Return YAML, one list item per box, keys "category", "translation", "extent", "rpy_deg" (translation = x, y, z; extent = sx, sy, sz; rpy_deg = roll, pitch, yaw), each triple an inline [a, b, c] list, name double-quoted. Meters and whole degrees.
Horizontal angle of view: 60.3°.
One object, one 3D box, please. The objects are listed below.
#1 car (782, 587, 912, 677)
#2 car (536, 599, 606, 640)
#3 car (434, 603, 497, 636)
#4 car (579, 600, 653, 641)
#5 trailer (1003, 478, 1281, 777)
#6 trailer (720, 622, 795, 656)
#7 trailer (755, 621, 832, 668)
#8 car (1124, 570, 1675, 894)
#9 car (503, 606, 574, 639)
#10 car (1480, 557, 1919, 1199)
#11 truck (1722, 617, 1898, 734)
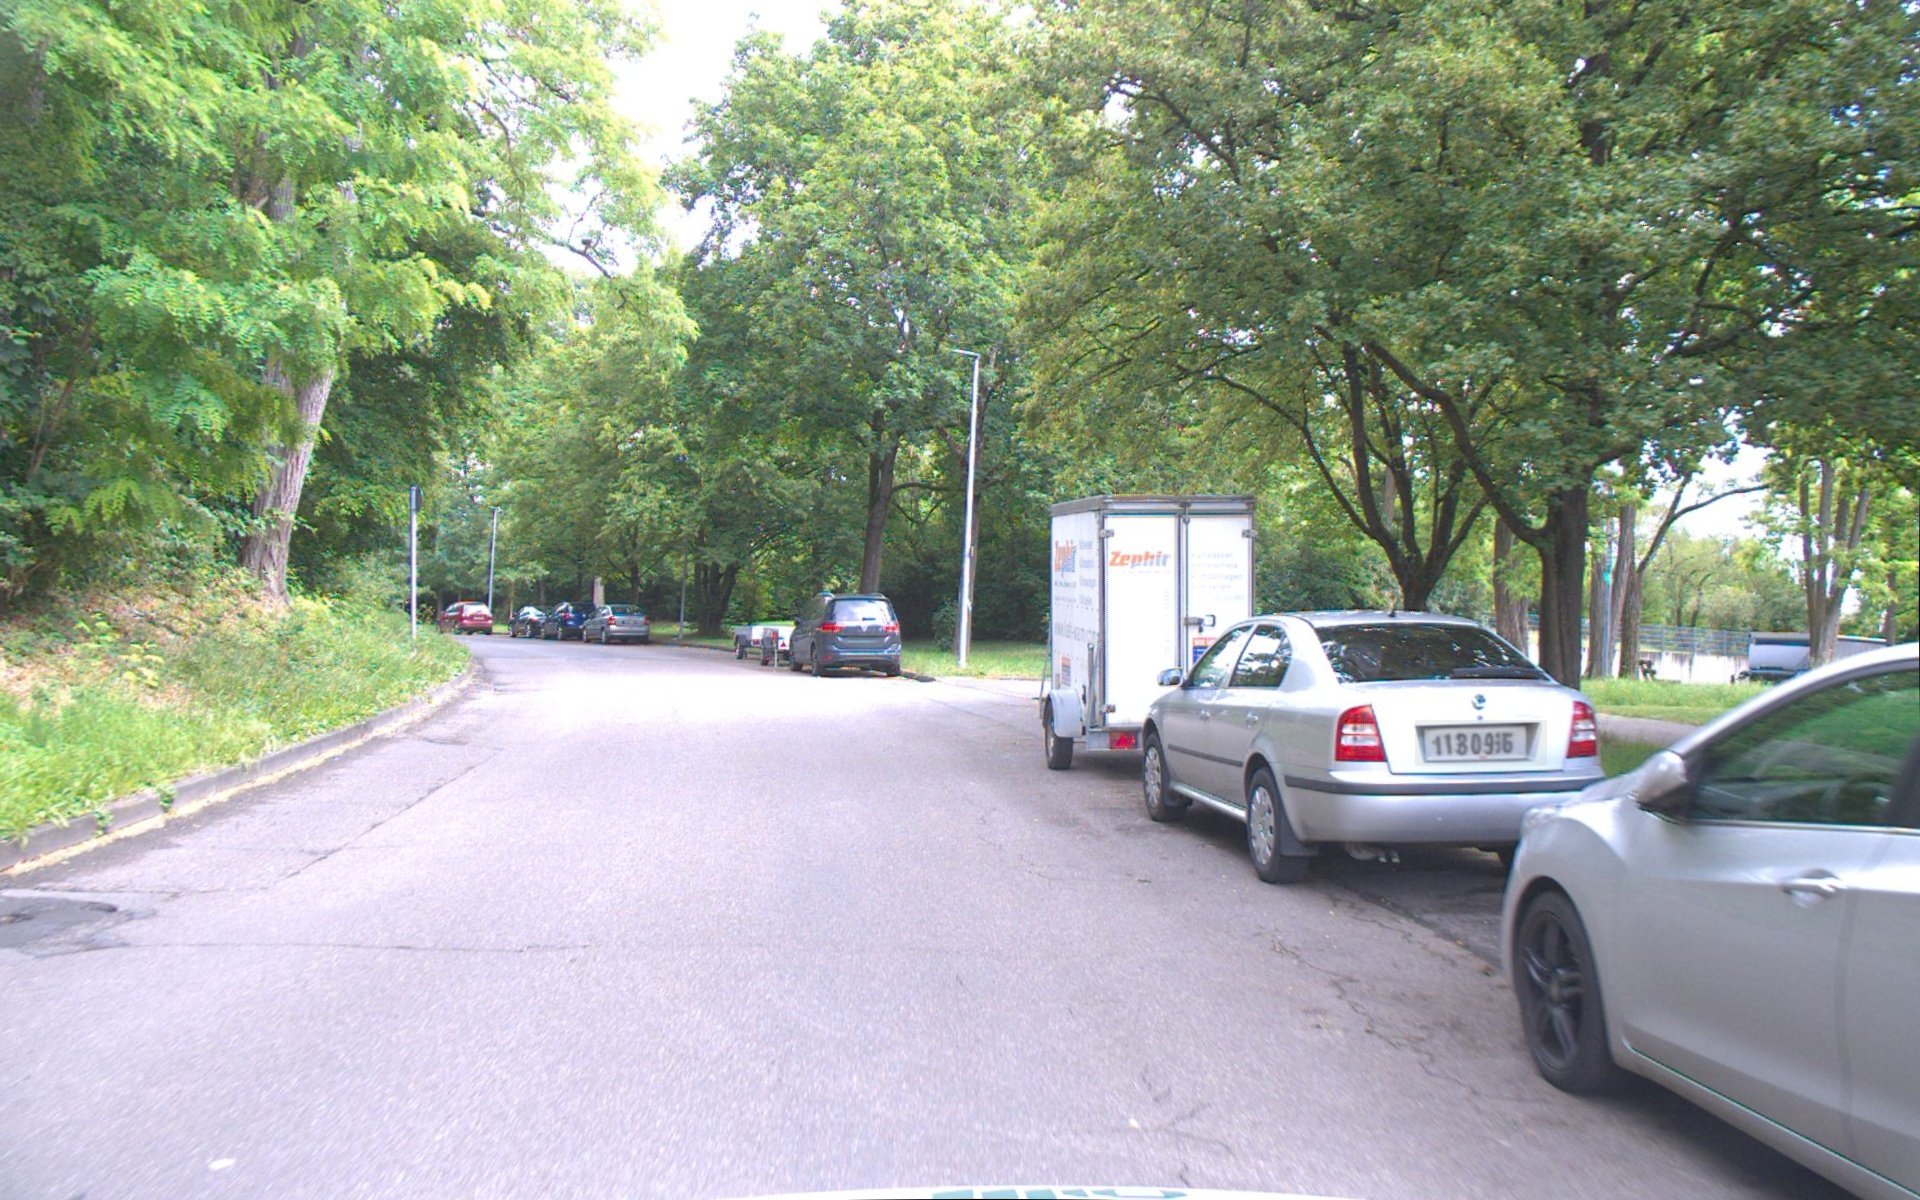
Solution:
- category: "car"
  translation: [-2.434, 0.652, 34.468]
  extent: [1.746, 1.692, 4.820]
  rpy_deg: [2, -1, -15]
- category: "car"
  translation: [-15.798, 0.814, 67.095]
  extent: [1.695, 1.536, 4.141]
  rpy_deg: [3, -3, -28]
- category: "car"
  translation: [-24.028, 0.969, 80.274]
  extent: [1.725, 1.590, 3.948]
  rpy_deg: [1, -2, -36]
- category: "car"
  translation: [-12.734, 0.757, 61.120]
  extent: [1.698, 1.457, 3.912]
  rpy_deg: [0, -1, -28]
- category: "trailer"
  translation: [1.578, 0.230, 15.702]
  extent: [1.728, 2.469, 3.880]
  rpy_deg: [0, 0, -8]
- category: "trailer"
  translation: [-5.519, 1.064, 44.870]
  extent: [1.343, 0.862, 3.260]
  rpy_deg: [3, -2, -19]
- category: "trailer"
  translation: [-4.098, 1.055, 40.310]
  extent: [1.334, 0.986, 3.879]
  rpy_deg: [2, 0, -14]
- category: "car"
  translation: [2.385, 0.646, 10.351]
  extent: [1.708, 1.552, 4.627]
  rpy_deg: [0, 0, -8]
- category: "car"
  translation: [-18.167, 0.969, 71.180]
  extent: [1.733, 1.360, 4.367]
  rpy_deg: [2, -1, -32]
- category: "car"
  translation: [2.910, 0.704, 3.835]
  extent: [1.865, 1.502, 4.054]
  rpy_deg: [2, -2, -4]
- category: "truck"
  translation: [31.878, 2.886, 61.790]
  extent: [9.487, 4.068, 2.657]
  rpy_deg: [4, -3, -42]
